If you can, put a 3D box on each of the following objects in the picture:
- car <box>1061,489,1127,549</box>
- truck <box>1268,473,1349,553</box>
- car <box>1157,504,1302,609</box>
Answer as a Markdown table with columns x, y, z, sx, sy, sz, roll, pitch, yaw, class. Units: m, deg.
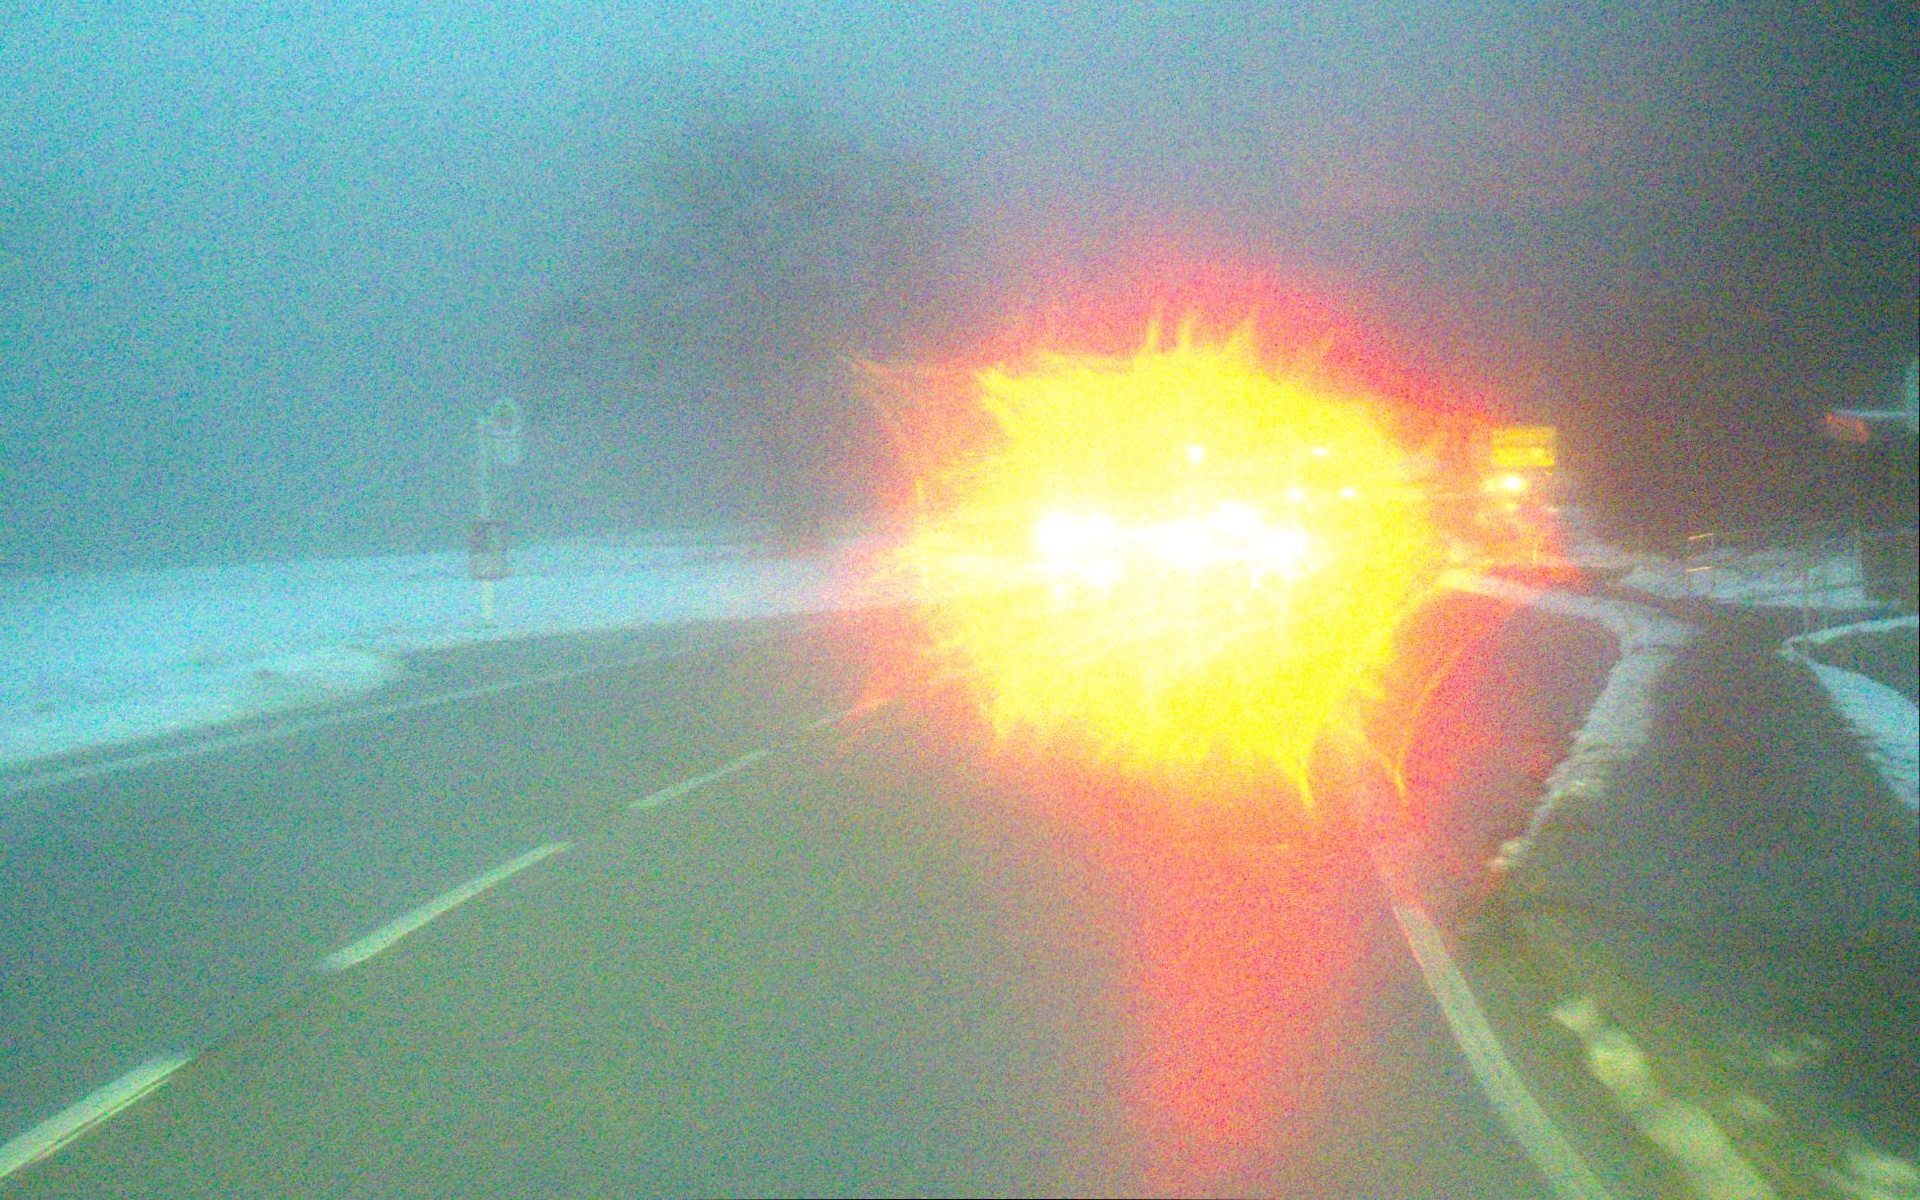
| x | y | z | sx | sy | sz | roll | pitch | yaw | class |
| --- | --- | --- | --- | --- | --- | --- | --- | --- | --- |
| 4.008 | -2.444 | 103.495 | 1.752 | 1.687 | 4.426 | -3 | 2 | 0 | car |
| 12.265 | -3.089 | 121.332 | 2.075 | 2.736 | 5.320 | -1 | 2 | -2 | truck |
| 3.828 | -0.642 | 48.453 | 1.922 | 1.272 | 4.000 | -1 | 3 | 5 | car |
